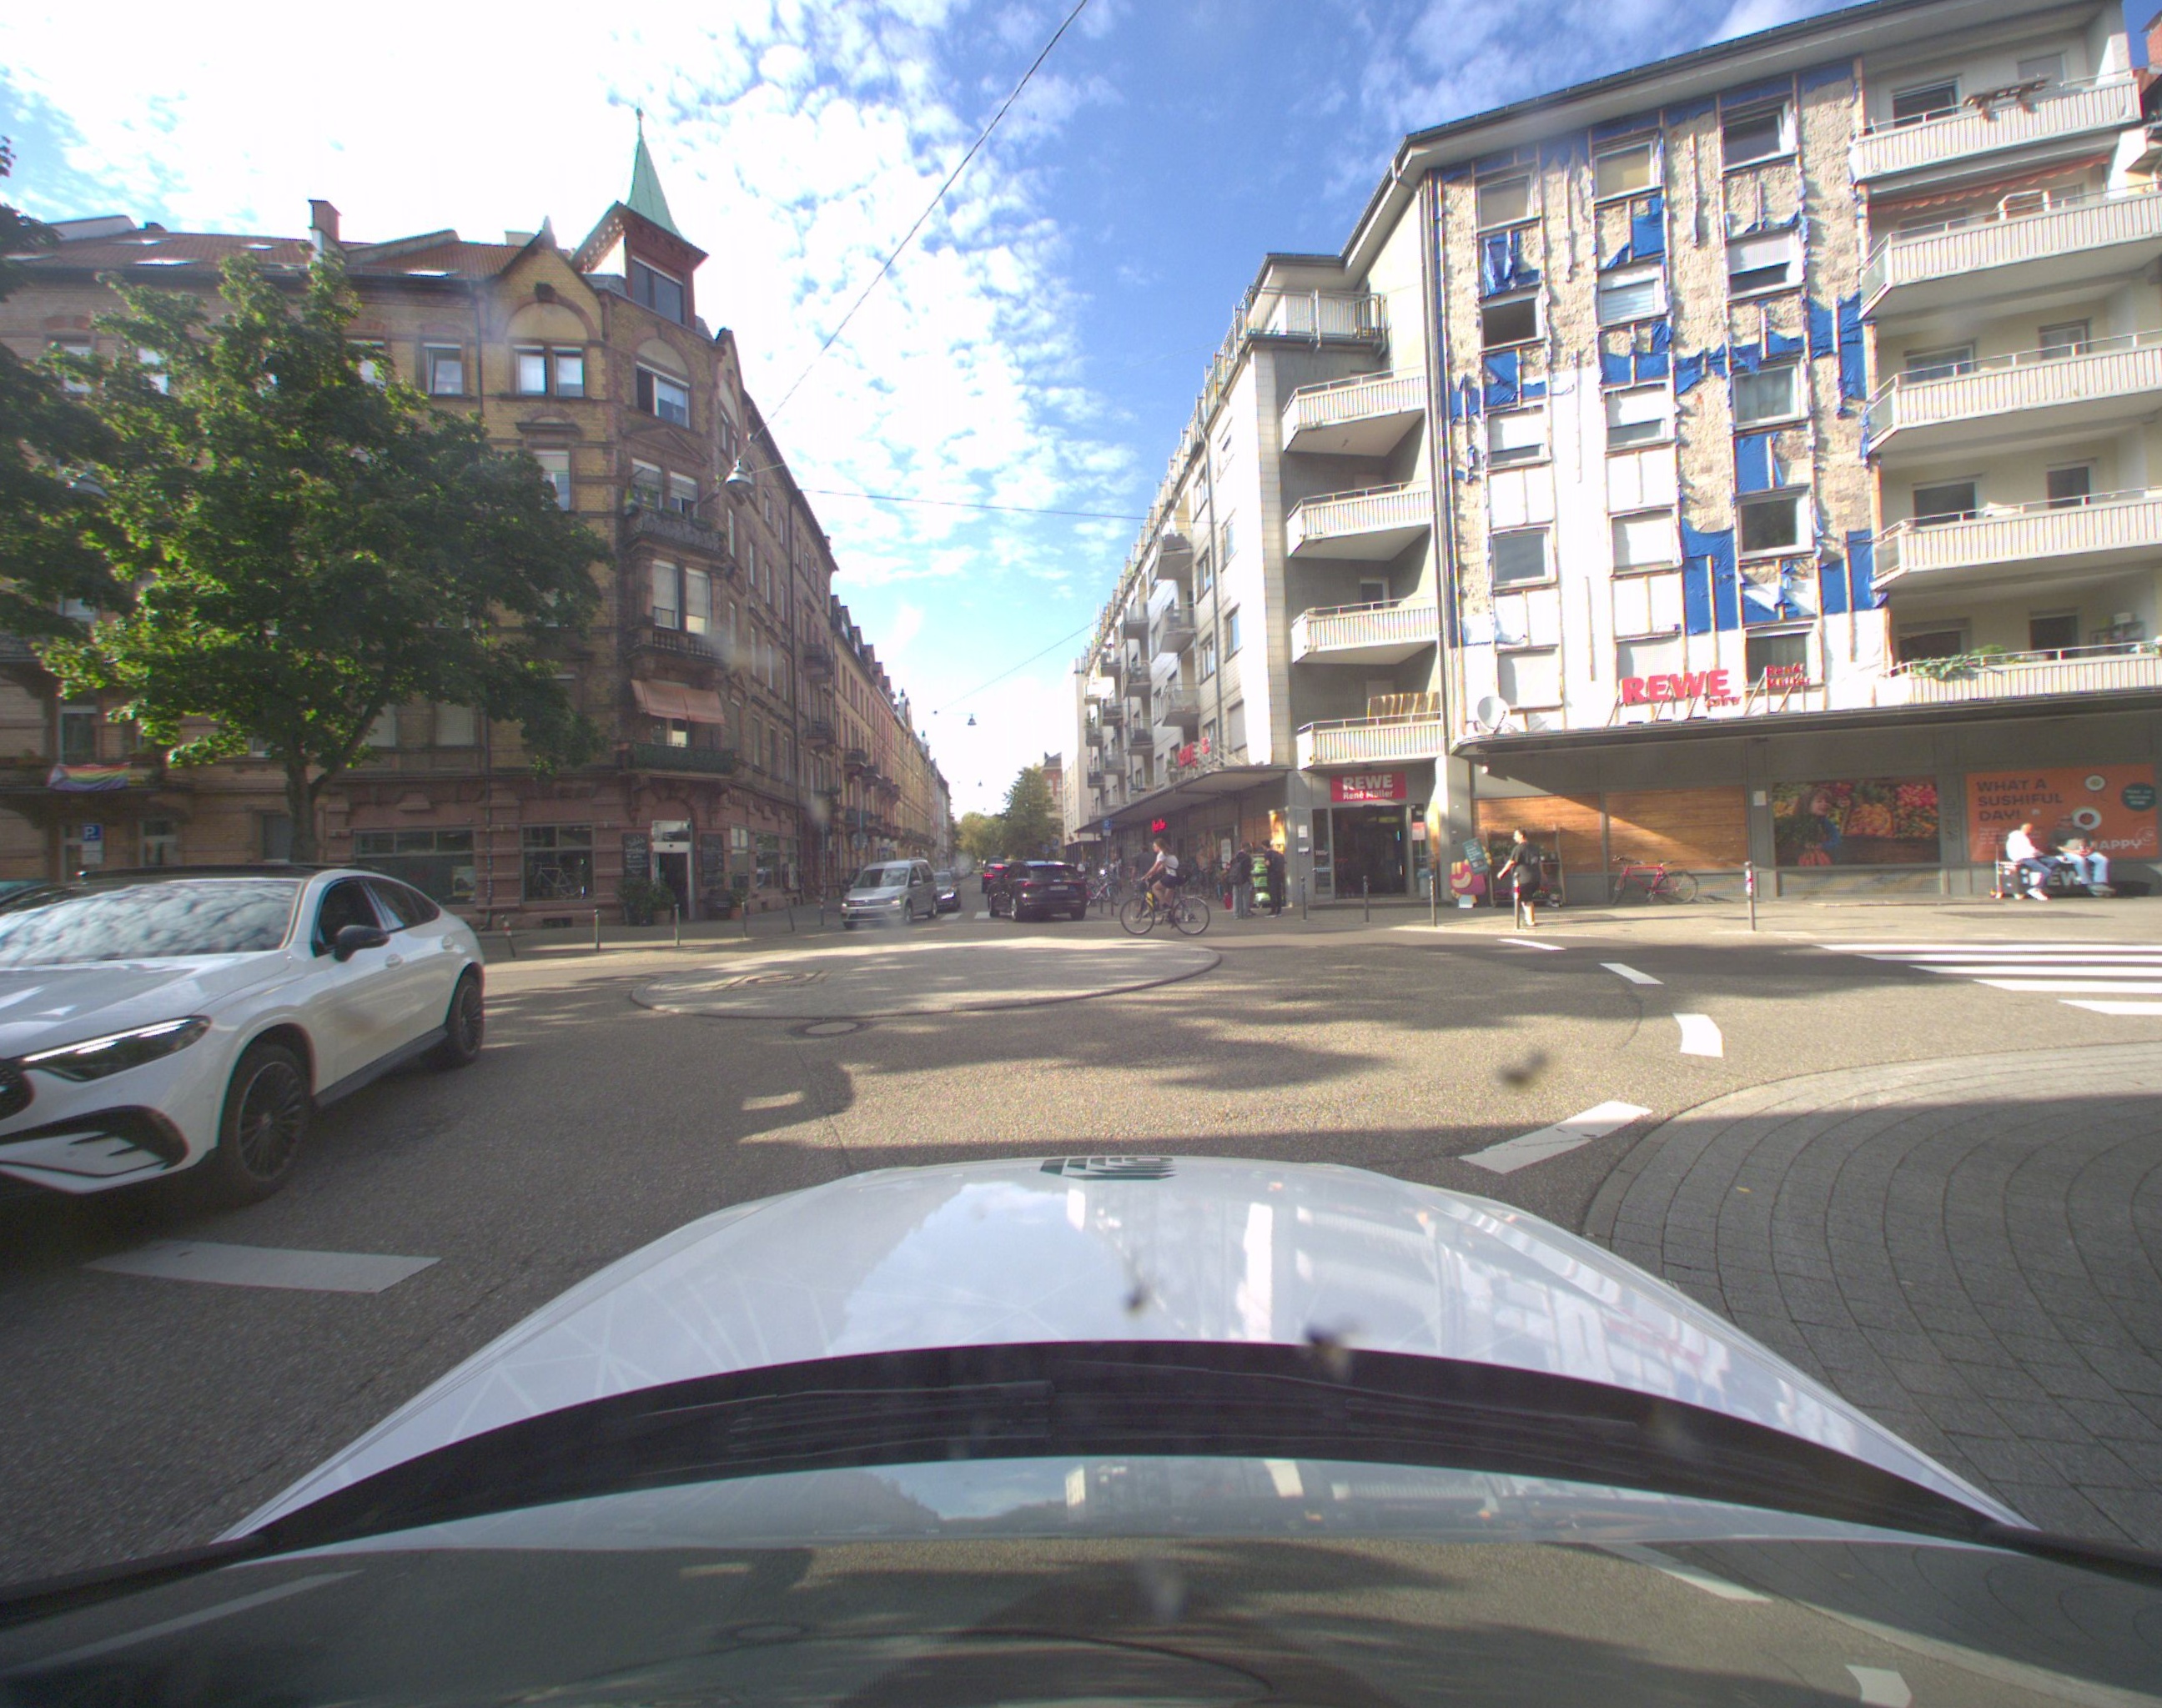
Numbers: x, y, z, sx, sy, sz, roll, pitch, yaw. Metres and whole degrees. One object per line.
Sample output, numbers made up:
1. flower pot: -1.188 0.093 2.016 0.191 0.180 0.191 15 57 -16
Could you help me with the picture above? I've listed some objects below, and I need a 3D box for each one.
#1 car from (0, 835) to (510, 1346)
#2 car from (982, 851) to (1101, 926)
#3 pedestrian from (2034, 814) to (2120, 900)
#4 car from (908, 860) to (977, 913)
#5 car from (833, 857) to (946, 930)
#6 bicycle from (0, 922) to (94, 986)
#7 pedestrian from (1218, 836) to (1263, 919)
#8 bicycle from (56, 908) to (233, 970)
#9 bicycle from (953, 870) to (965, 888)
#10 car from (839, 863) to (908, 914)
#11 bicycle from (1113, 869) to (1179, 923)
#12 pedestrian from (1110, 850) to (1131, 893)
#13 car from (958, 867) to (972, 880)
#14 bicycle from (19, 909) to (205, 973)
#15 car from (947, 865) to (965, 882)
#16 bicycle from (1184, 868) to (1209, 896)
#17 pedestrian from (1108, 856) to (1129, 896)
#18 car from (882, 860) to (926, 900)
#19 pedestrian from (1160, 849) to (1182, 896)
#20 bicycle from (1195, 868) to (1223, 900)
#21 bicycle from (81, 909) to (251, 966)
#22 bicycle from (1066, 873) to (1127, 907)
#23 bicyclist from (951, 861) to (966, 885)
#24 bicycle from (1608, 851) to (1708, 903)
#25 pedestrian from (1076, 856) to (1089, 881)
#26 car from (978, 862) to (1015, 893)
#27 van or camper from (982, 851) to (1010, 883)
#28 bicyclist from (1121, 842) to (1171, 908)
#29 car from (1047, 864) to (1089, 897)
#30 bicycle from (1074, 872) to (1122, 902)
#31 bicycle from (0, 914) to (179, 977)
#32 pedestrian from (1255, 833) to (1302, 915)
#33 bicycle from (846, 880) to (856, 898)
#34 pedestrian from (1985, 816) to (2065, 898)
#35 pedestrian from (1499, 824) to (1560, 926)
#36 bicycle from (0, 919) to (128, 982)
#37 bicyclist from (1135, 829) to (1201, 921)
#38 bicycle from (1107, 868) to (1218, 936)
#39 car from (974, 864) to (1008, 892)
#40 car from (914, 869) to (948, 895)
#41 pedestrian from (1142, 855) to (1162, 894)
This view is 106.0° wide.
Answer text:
1. car: -5.199 0.872 4.754 1.951 1.722 4.813 -4 1 -23
2. car: -1.242 0.867 22.748 2.042 1.724 4.816 -4 1 -18
3. pedestrian: 18.521 0.049 15.167 0.741 1.550 0.735 -1 0 20
4. car: -5.090 1.153 30.482 1.924 1.724 4.730 -3 0 -3
5. car: -5.330 1.029 23.307 1.785 1.790 4.739 -3 -1 3
6. bicycle: -21.362 2.000 15.876 2.896 1.123 0.724 -3 -1 -10
7. pedestrian: 3.691 0.543 18.893 0.866 1.851 0.612 -2 -1 -1
8. bicycle: -21.665 1.948 18.888 2.896 1.197 0.630 -3 -1 -10
9. bicycle: -10.273 2.084 68.352 0.925 1.489 3.451 0 -1 -10
10. car: -8.074 1.273 32.023 1.779 1.724 4.439 -1 1 -3
11. bicycle: 1.485 0.946 19.142 0.667 1.178 2.482 0 -1 -17
12. pedestrian: 1.792 0.787 36.811 0.726 1.864 1.065 -2 -1 9
13. car: -18.838 3.124 132.287 1.992 2.014 3.990 -2 -1 -7
14. bicycle: -21.550 1.910 18.163 2.896 1.190 0.630 -3 -1 -10
15. car: -16.122 2.509 105.108 1.992 2.014 3.990 -2 -1 -7
16. bicycle: 4.172 1.002 29.564 0.360 0.999 1.709 -2 -1 -10
17. pedestrian: 1.588 0.922 34.406 0.726 1.611 0.792 -2 -1 9
18. car: -9.541 1.375 44.218 1.993 2.013 3.988 -3 -1 -8
19. pedestrian: 3.363 0.697 30.473 0.737 1.712 0.734 -2 -1 5
20. bicycle: 4.261 0.986 27.205 0.363 1.016 1.424 -2 -1 -14
21. bicycle: -21.829 1.980 19.481 2.896 1.123 0.630 -3 -1 -10
22. bicycle: 0.525 1.234 28.055 1.996 1.045 0.531 -2 -1 -4
23. bicyclist: -10.290 1.628 68.402 1.133 1.998 1.024 0 -2 -11
24. bicycle: 12.108 0.498 17.145 1.663 1.050 0.461 -3 -1 33
25. pedestrian: 0.094 1.157 66.862 0.899 2.014 0.733 -2 -1 -6
26. car: -4.875 1.343 46.957 1.991 1.618 3.991 -2 -1 -6
27. van or camper: -8.592 1.294 81.783 2.530 3.037 4.445 -2 -1 -8
28. bicyclist: 1.510 0.482 19.071 0.936 1.484 0.743 0 -1 -17
29. car: -0.646 1.218 38.447 1.643 1.324 3.570 -5 0 -5
30. bicycle: 0.654 1.239 30.637 1.800 1.027 0.672 -2 -1 -44
31. bicycle: -21.403 1.946 17.390 3.096 1.123 0.630 -3 -1 -10
32. pedestrian: 4.564 0.459 18.898 0.866 1.851 0.612 -2 -1 -1
33. bicycle: -13.181 1.994 46.708 0.360 0.947 1.709 -1 -1 -11
34. pedestrian: 17.766 0.057 15.342 0.744 1.480 0.589 -3 -1 19
35. pedestrian: 7.914 0.359 14.408 0.625 1.739 0.777 -2 -1 6
36. bicycle: -21.423 1.993 16.556 2.896 1.123 0.630 -3 -1 -10
37. bicyclist: 1.671 0.398 15.454 1.005 1.668 0.948 -2 -1 18
38. bicycle: 1.555 0.908 15.480 1.953 1.199 0.715 -2 -1 17
39. car: -5.572 1.453 50.817 1.806 1.487 4.157 -3 1 -3
40. car: -11.565 2.109 62.948 1.924 1.724 4.282 -3 1 -3
41. pedestrian: 3.002 0.854 34.427 0.741 1.629 0.813 -2 -1 5
